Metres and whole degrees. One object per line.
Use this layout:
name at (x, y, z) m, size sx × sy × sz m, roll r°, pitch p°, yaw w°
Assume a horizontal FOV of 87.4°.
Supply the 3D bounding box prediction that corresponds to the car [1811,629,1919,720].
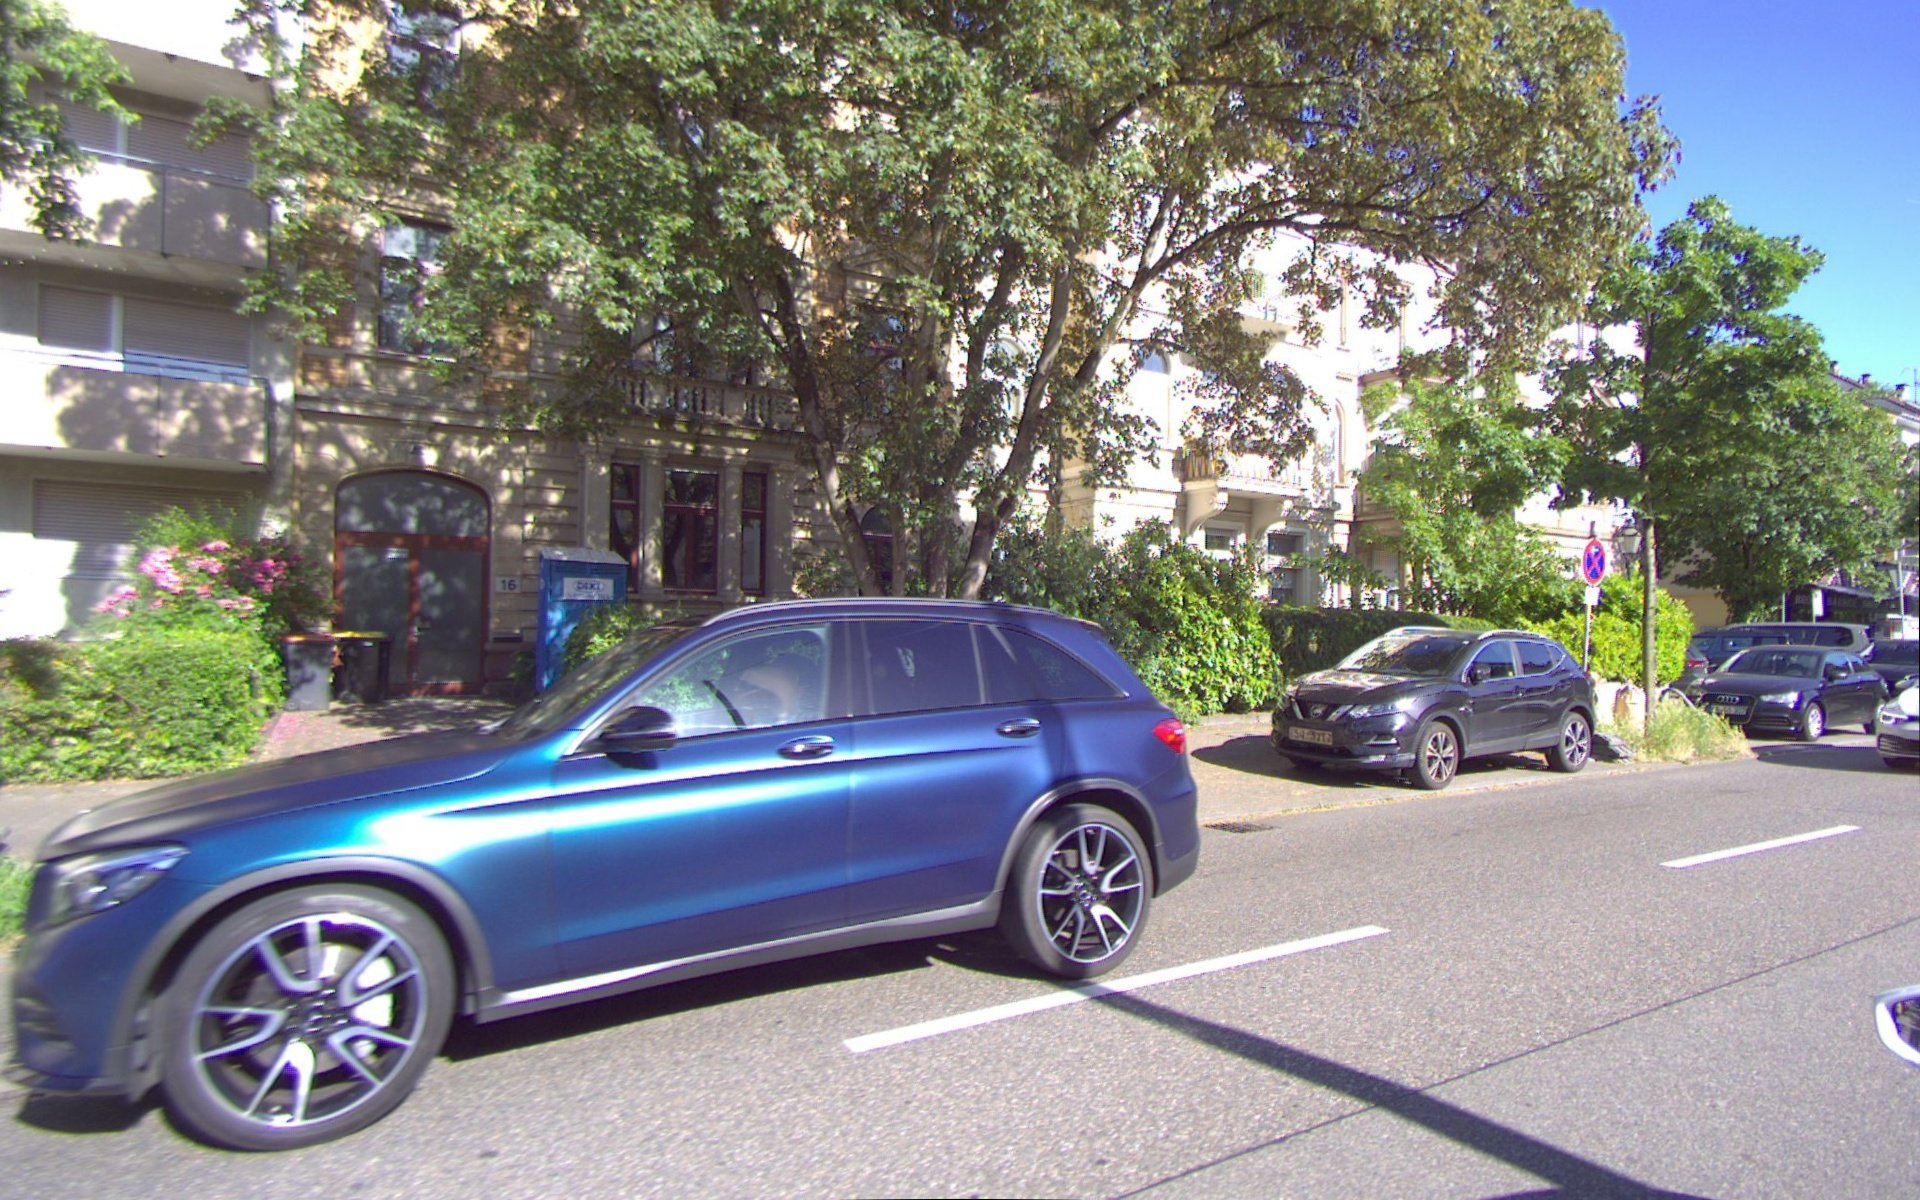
car at (18.261, 1.365, 19.285) m, size 3.959 × 1.575 × 1.670 m, roll 1°, pitch -1°, yaw -29°

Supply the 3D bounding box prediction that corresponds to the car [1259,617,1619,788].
car at (5.552, 1.045, 11.492) m, size 4.298 × 1.609 × 1.616 m, roll 1°, pitch 0°, yaw -31°

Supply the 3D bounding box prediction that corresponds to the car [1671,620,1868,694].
car at (23.065, 1.566, 28.852) m, size 4.257 × 1.904 × 1.873 m, roll 0°, pitch -1°, yaw 35°

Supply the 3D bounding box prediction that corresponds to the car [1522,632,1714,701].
car at (16.150, 1.586, 24.838) m, size 3.853 × 1.508 × 1.628 m, roll 0°, pitch -1°, yaw 33°

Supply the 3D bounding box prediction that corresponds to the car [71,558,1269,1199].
car at (-0.853, 0.807, 4.495) m, size 4.350 × 1.634 × 1.828 m, roll 1°, pitch -4°, yaw -31°

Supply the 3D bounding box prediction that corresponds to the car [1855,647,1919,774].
car at (12.812, 1.276, 12.156) m, size 4.143 × 1.431 × 1.725 m, roll 1°, pitch -4°, yaw -30°

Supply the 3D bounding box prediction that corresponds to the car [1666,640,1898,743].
car at (13.501, 1.407, 16.454) m, size 4.042 × 1.435 × 1.629 m, roll 1°, pitch 0°, yaw -30°

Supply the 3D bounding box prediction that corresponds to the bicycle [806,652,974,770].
bicycle at (-0.720, 1.131, 10.596) m, size 1.744 × 1.131 × 0.446 m, roll 1°, pitch 0°, yaw -31°

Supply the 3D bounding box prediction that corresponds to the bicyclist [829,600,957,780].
bicyclist at (-0.704, 0.914, 10.609) m, size 1.194 × 1.790 × 0.579 m, roll 1°, pitch 1°, yaw -31°

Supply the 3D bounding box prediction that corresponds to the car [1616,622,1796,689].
car at (20.435, 1.470, 27.673) m, size 3.857 × 1.666 × 1.674 m, roll 0°, pitch -1°, yaw 37°
